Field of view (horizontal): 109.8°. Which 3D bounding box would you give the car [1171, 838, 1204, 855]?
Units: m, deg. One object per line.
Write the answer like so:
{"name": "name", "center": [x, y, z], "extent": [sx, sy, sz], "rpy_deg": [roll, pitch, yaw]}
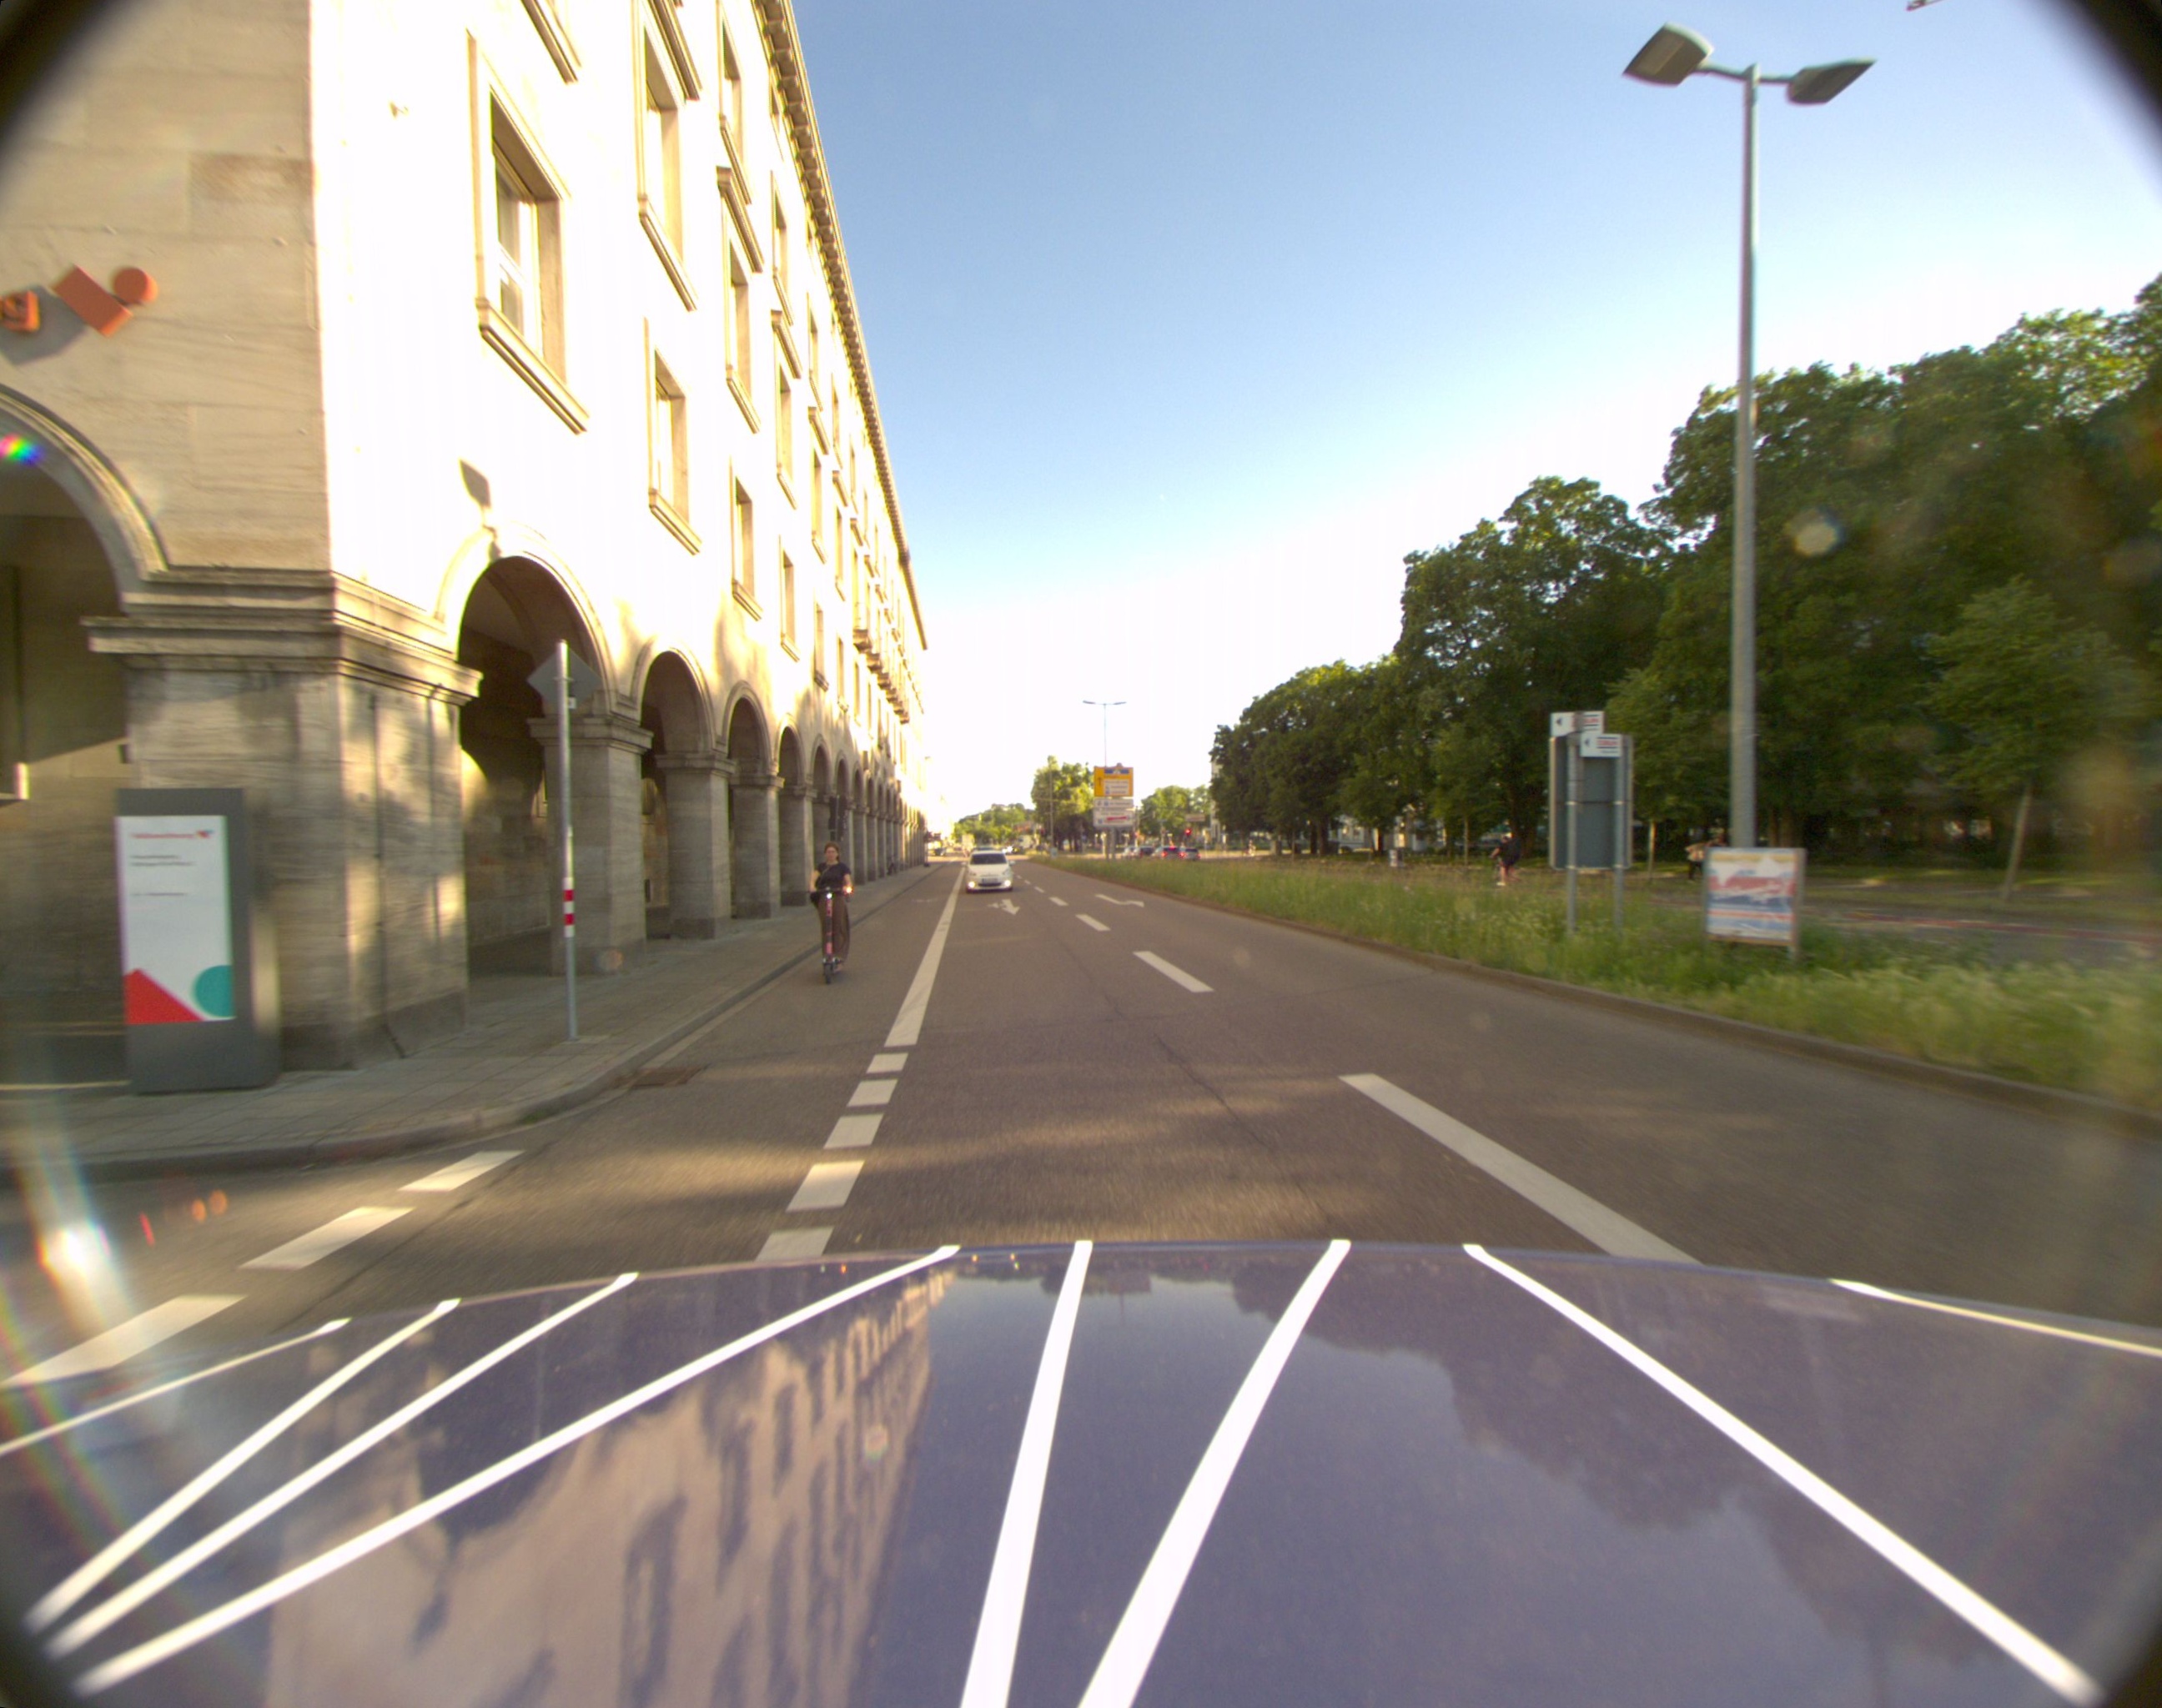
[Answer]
{"name": "car", "center": [9.777, -0.706, 70.044], "extent": [1.939, 1.517, 4.584], "rpy_deg": [-1, 1, -7]}

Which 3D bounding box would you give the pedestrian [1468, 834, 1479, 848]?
{"name": "pedestrian", "center": [36.645, -1.238, 70.933], "extent": [0.733, 1.332, 0.599], "rpy_deg": [-1, 2, -5]}

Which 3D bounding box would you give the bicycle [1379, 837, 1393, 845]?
{"name": "bicycle", "center": [36.400, -1.535, 90.740], "extent": [0.771, 0.884, 1.603], "rpy_deg": [-1, 1, -16]}

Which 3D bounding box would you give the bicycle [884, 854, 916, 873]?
{"name": "bicycle", "center": [-10.219, 0.545, 42.902], "extent": [1.715, 1.044, 0.526], "rpy_deg": [0, 1, -22]}

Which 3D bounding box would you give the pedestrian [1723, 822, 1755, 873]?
{"name": "pedestrian", "center": [22.810, -0.237, 26.345], "extent": [0.525, 1.730, 0.654], "rpy_deg": [-1, 2, -4]}

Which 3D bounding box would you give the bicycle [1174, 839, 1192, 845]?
{"name": "bicycle", "center": [14.093, -1.628, 104.990], "extent": [2.335, 0.846, 0.843], "rpy_deg": [-1, 2, -4]}

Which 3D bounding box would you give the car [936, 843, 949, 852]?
{"name": "car", "center": [-24.929, -1.206, 136.967], "extent": [2.000, 1.565, 4.545], "rpy_deg": [-1, 1, -7]}

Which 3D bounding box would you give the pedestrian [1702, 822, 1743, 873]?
{"name": "pedestrian", "center": [22.255, -0.219, 26.377], "extent": [0.773, 1.730, 0.760], "rpy_deg": [-1, 2, -4]}

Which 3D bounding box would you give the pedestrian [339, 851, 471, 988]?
{"name": "pedestrian", "center": [-8.250, 0.757, 9.325], "extent": [0.779, 1.560, 0.951], "rpy_deg": [-1, 1, -10]}

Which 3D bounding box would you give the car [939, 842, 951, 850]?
{"name": "car", "center": [-25.566, -1.528, 142.988], "extent": [2.000, 1.565, 4.545], "rpy_deg": [-1, 1, -7]}

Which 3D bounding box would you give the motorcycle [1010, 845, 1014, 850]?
{"name": "motorcycle", "center": [-10.901, -1.006, 119.654], "extent": [0.624, 0.791, 1.308], "rpy_deg": [-1, 1, -6]}

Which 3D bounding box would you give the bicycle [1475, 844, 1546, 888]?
{"name": "bicycle", "center": [13.777, 0.346, 24.443], "extent": [0.760, 1.268, 2.255], "rpy_deg": [-1, 3, -8]}

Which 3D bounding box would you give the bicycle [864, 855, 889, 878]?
{"name": "bicycle", "center": [-9.907, 0.588, 36.905], "extent": [0.471, 1.044, 1.714], "rpy_deg": [1, 1, 11]}

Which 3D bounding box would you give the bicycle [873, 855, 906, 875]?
{"name": "bicycle", "center": [-10.292, 0.591, 40.927], "extent": [0.610, 1.044, 1.717], "rpy_deg": [2, 1, 36]}

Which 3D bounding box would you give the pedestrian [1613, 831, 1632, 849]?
{"name": "pedestrian", "center": [39.203, -1.020, 54.997], "extent": [0.829, 1.332, 0.715], "rpy_deg": [-1, 2, -5]}

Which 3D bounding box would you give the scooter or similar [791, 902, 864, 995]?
{"name": "scooter or similar", "center": [-3.237, 1.181, 9.782], "extent": [0.557, 1.025, 1.117], "rpy_deg": [-1, 2, -1]}

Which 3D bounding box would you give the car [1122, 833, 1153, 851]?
{"name": "car", "center": [5.208, -1.107, 70.286], "extent": [2.000, 1.552, 4.545], "rpy_deg": [-1, 1, -7]}

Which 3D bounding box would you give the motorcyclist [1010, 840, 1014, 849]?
{"name": "motorcyclist", "center": [-10.912, -1.511, 119.702], "extent": [0.607, 1.438, 0.736], "rpy_deg": [-1, 2, -6]}

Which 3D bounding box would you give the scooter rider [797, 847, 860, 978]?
{"name": "scooter rider", "center": [-3.239, 0.726, 9.799], "extent": [0.563, 1.622, 0.650], "rpy_deg": [-1, 2, -2]}

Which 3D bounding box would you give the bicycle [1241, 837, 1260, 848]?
{"name": "bicycle", "center": [19.907, -1.360, 89.252], "extent": [2.021, 1.233, 0.777], "rpy_deg": [-1, 3, -8]}

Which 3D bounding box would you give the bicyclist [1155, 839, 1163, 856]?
{"name": "bicyclist", "center": [7.560, -0.609, 73.475], "extent": [0.783, 1.669, 0.839], "rpy_deg": [0, 2, 7]}

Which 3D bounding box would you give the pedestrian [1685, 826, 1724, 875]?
{"name": "pedestrian", "center": [21.496, -0.122, 26.218], "extent": [0.744, 1.632, 0.726], "rpy_deg": [-1, 2, -4]}

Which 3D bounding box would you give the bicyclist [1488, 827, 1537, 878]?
{"name": "bicyclist", "center": [13.790, -0.072, 24.312], "extent": [0.749, 1.582, 1.200], "rpy_deg": [-1, 3, -8]}

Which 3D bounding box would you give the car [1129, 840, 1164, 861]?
{"name": "car", "center": [5.538, -0.358, 64.508], "extent": [2.000, 1.666, 4.545], "rpy_deg": [-1, 1, -7]}

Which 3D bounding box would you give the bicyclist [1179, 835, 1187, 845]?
{"name": "bicyclist", "center": [14.098, -1.889, 104.980], "extent": [0.972, 1.354, 0.826], "rpy_deg": [-1, 2, -4]}

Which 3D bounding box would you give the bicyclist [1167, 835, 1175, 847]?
{"name": "bicyclist", "center": [11.774, -1.671, 99.195], "extent": [0.850, 1.610, 0.974], "rpy_deg": [0, 2, 22]}

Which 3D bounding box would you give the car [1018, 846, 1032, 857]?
{"name": "car", "center": [-9.282, -0.424, 125.489], "extent": [2.000, 1.565, 4.545], "rpy_deg": [-1, 1, -7]}

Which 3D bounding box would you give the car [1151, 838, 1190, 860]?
{"name": "car", "center": [6.697, -0.376, 57.419], "extent": [2.000, 1.556, 4.057], "rpy_deg": [-1, 1, -7]}

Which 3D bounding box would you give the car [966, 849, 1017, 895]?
{"name": "car", "center": [-3.289, 0.601, 28.092], "extent": [1.679, 1.456, 3.762], "rpy_deg": [-2, 2, -6]}

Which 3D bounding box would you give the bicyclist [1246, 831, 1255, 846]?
{"name": "bicyclist", "center": [19.912, -1.814, 89.234], "extent": [0.839, 1.734, 0.754], "rpy_deg": [-1, 3, -8]}

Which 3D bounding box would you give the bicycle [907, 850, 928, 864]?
{"name": "bicycle", "center": [-13.425, 0.220, 62.351], "extent": [1.708, 1.127, 0.665], "rpy_deg": [1, 2, 32]}

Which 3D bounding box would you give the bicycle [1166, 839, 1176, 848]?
{"name": "bicycle", "center": [11.797, -1.386, 99.242], "extent": [0.844, 1.224, 2.017], "rpy_deg": [0, 2, 21]}
